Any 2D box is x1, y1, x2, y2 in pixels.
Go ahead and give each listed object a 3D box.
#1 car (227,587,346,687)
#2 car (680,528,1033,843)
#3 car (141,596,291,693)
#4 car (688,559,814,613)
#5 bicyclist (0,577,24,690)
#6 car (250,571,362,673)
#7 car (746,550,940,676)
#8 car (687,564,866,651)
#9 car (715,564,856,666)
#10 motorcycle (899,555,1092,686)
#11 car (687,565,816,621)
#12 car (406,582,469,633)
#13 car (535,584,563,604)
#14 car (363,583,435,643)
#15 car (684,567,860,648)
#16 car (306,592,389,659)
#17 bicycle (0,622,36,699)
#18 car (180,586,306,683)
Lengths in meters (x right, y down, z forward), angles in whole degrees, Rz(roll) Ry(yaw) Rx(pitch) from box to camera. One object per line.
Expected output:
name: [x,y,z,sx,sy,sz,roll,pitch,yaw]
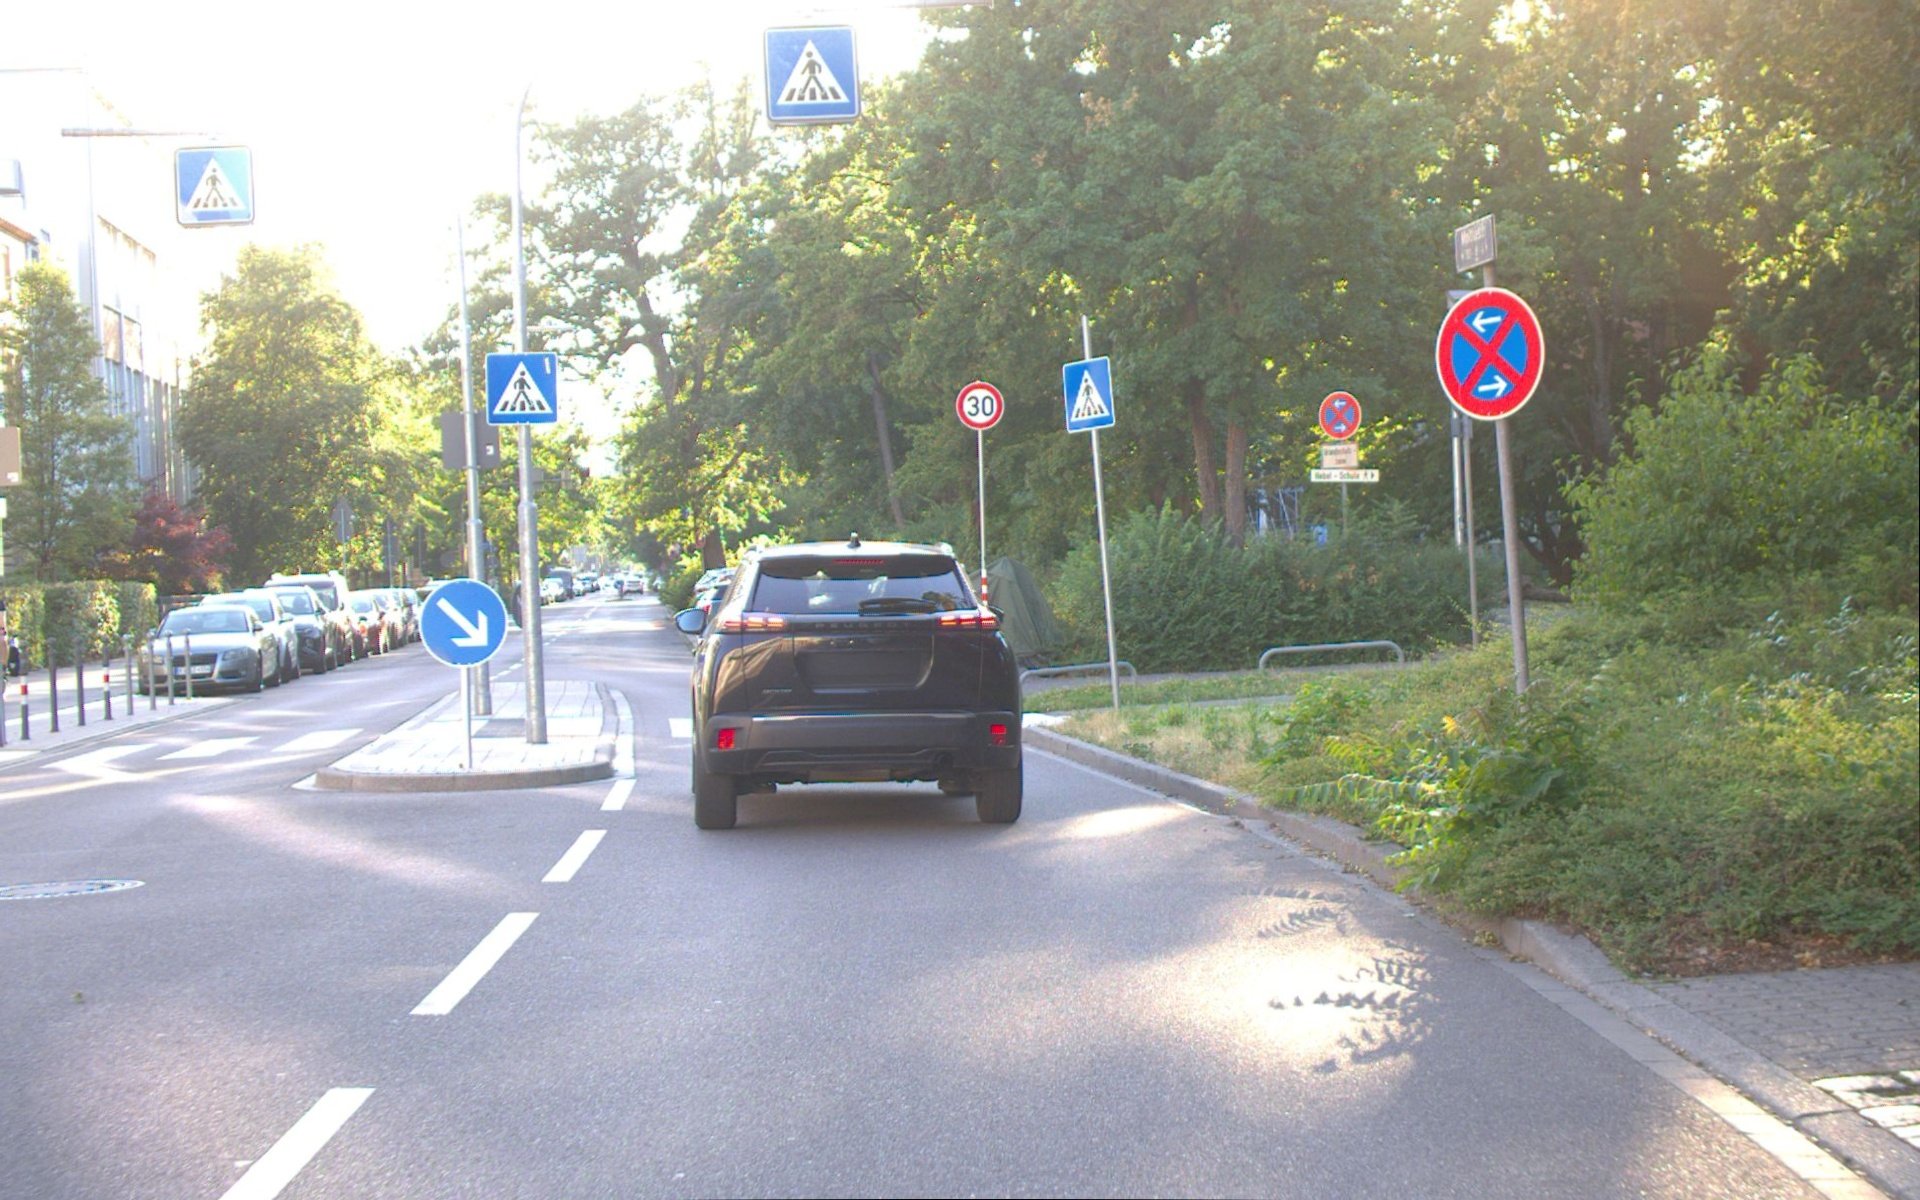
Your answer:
car: [-12.674,0.663,64.910,1.742,1.670,4.417,-3,1,-6]
car: [-0.661,0.421,19.391,1.768,1.563,3.381,-2,1,-4]
car: [-11.664,0.673,54.134,1.742,1.352,4.397,-3,1,-5]
car: [-7.147,-0.486,117.702,4.170,1.704,1.867,-2,1,-1]
bicyclist: [-14.154,0.492,50.277,0.626,1.639,0.757,-2,0,2]
car: [-13.331,0.415,70.254,1.807,1.883,4.239,-3,1,-6]
car: [-1.834,0.188,52.270,1.921,1.742,4.667,-3,1,-14]
car: [-3.957,0.151,73.860,3.609,1.520,1.672,-5,1,-7]
car: [-2.952,0.232,57.448,1.650,1.562,4.302,-3,1,-12]
motorcycle: [0.457,0.248,43.480,2.292,1.539,1.039,-3,0,6]
car: [-6.878,-0.233,112.969,4.121,1.661,1.723,-2,1,-5]
car: [-17.157,0.239,113.032,1.670,1.488,4.062,-3,1,-5]
car: [-30.074,-0.439,251.472,1.810,1.349,4.001,-3,1,-9]
car: [-15.497,0.332,95.103,1.600,1.488,3.773,-3,1,-5]
car: [-4.190,0.154,76.229,3.665,1.440,1.735,-5,1,-7]
car: [-14.206,0.572,79.934,1.598,1.450,3.862,-3,1,-6]
bicycle: [-14.135,0.891,50.246,0.633,1.074,1.883,-2,1,2]
car: [-12.332,0.563,59.307,1.741,1.528,4.116,-3,1,-7]
